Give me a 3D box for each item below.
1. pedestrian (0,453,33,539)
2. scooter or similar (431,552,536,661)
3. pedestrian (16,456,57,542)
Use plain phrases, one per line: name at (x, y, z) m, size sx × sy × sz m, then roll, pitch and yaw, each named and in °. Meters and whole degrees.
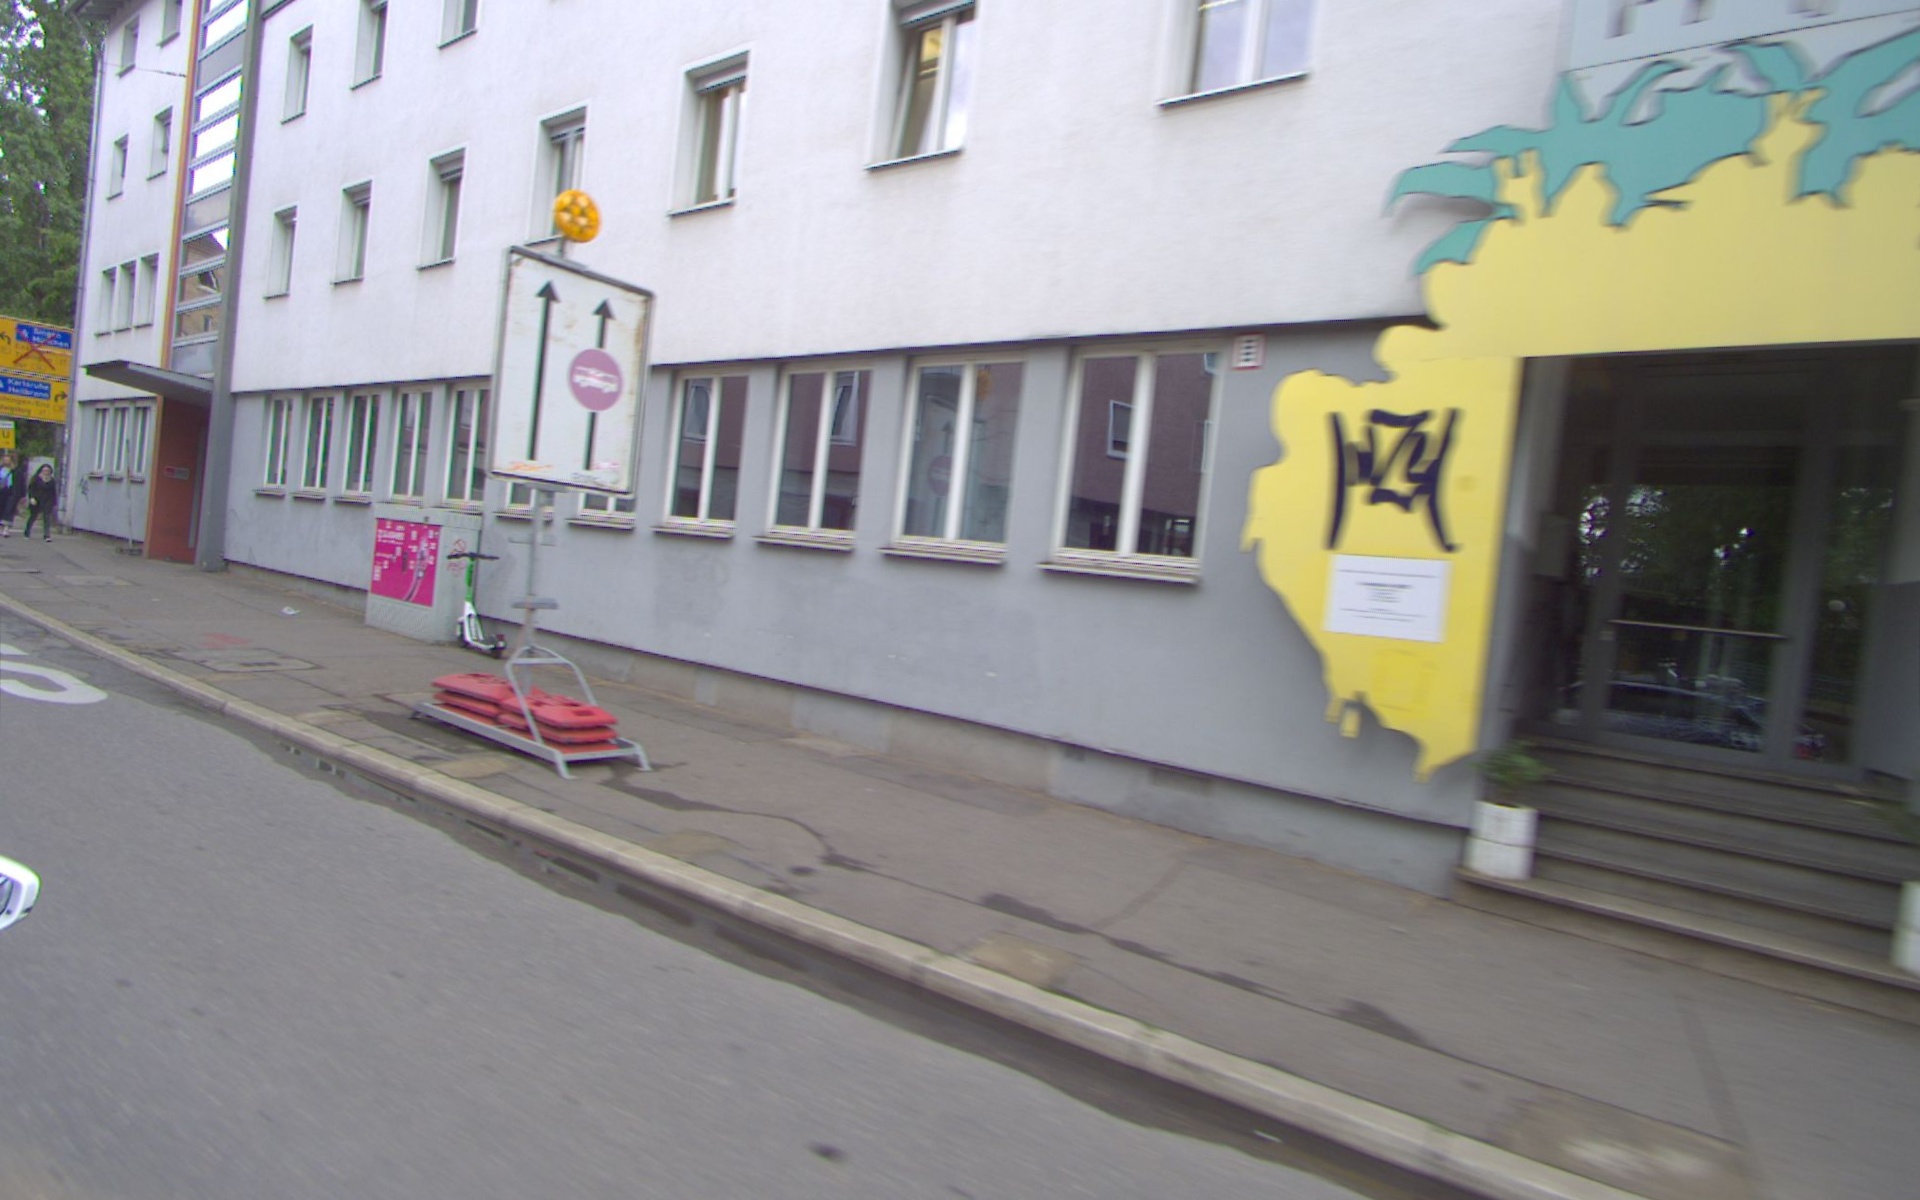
pedestrian at (-20.853, -2.287, 21.967) m, size 0.864 × 1.781 × 0.686 m, roll 9°, pitch 5°, yaw 37°
scooter or similar at (-5.652, 0.065, 11.903) m, size 1.417 × 1.112 × 0.428 m, roll 8°, pitch 3°, yaw 37°
pedestrian at (-19.932, -2.184, 21.720) m, size 0.539 × 1.781 × 0.601 m, roll 3°, pitch 5°, yaw -40°
